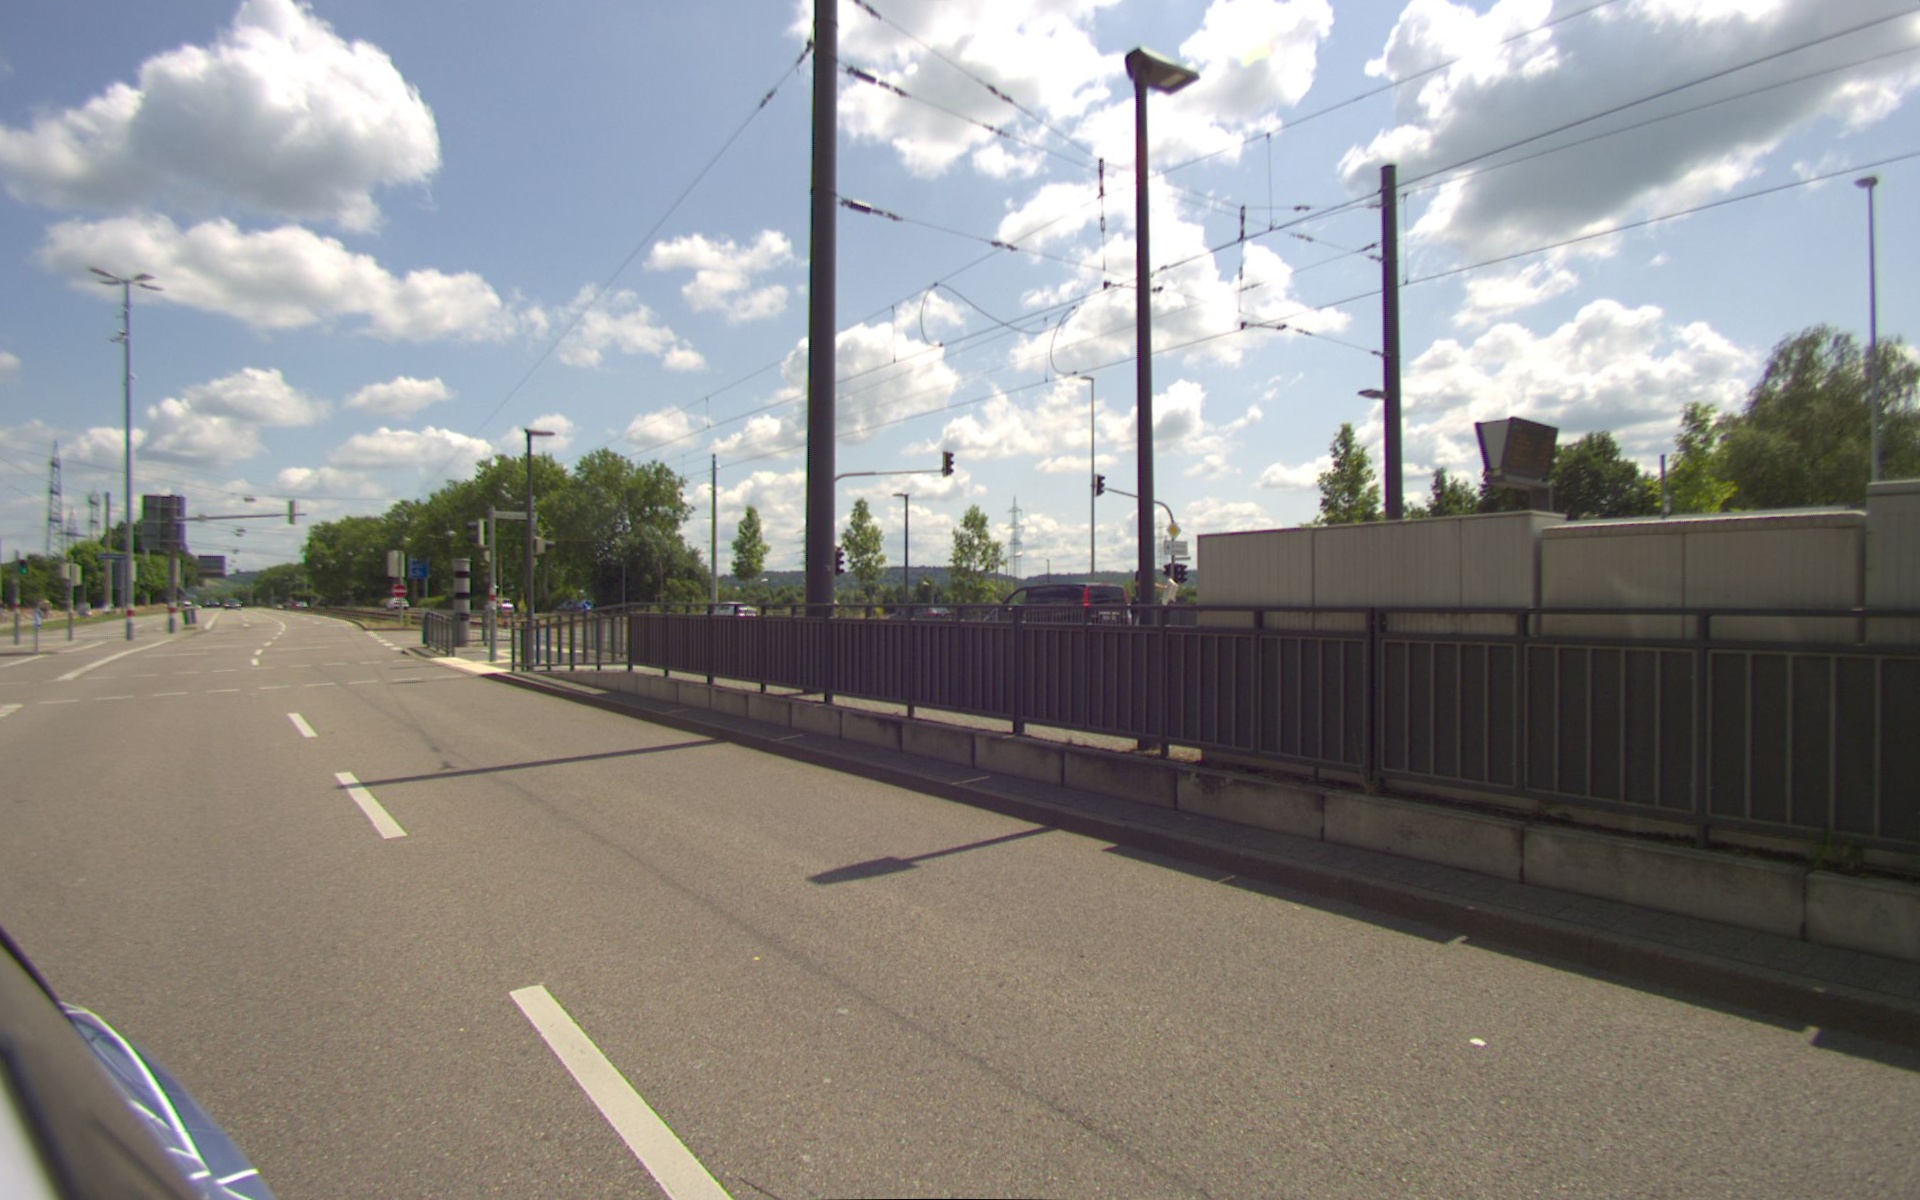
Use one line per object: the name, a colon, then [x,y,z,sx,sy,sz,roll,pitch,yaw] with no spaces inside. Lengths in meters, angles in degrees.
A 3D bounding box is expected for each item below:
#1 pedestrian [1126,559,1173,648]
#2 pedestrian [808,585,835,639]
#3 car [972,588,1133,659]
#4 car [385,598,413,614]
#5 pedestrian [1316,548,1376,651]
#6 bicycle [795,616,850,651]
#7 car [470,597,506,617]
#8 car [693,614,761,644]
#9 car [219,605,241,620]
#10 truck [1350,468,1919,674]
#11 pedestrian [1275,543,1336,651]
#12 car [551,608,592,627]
pedestrian: [3.755,0.073,20.057,0.718,1.734,0.526,-1,-1,-32]
pedestrian: [-4.580,0.393,33.439,0.661,1.782,0.614,-1,-1,-34]
car: [2.526,0.660,28.813,1.967,1.834,4.678,0,-1,-36]
car: [-67.621,0.754,122.045,1.966,1.822,5.149,-1,-1,-17]
pedestrian: [6.677,-0.008,17.513,0.591,1.734,0.710,-1,-1,-33]
bicycle: [-4.541,1.094,33.453,1.693,1.095,0.623,-1,-1,-34]
car: [-44.097,0.683,94.503,1.786,1.671,4.327,6,-5,-42]
car: [-14.524,1.791,62.887,4.668,1.787,1.858,-2,-2,44]
car: [-103.349,1.722,143.270,1.966,2.029,4.012,-1,-1,-29]
truck: [16.343,-0.505,25.949,2.904,4.136,12.021,-1,0,-38]
pedestrian: [5.803,-0.053,17.005,0.626,1.761,0.680,-2,0,-33]
car: [-30.369,1.392,79.140,1.645,1.419,3.896,-1,0,-43]
